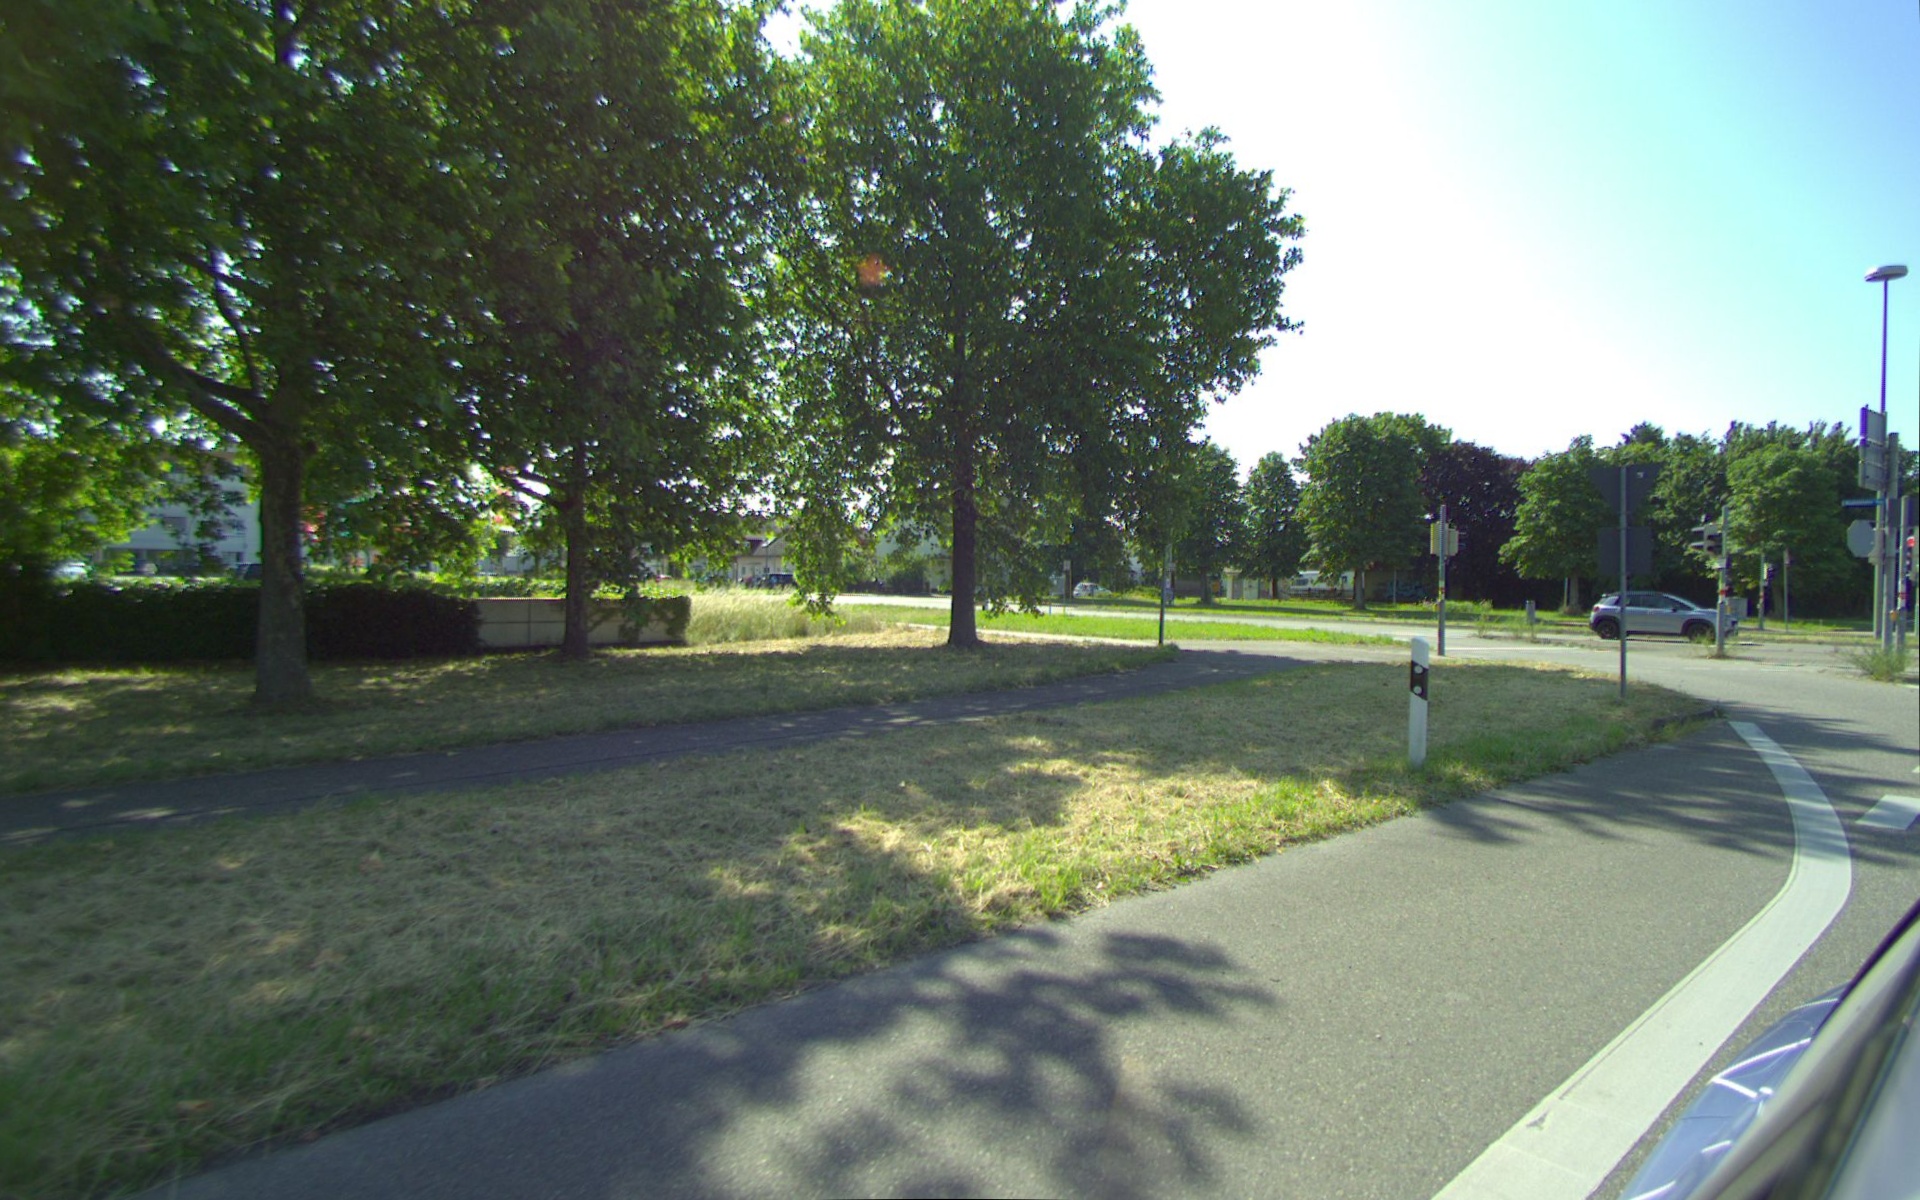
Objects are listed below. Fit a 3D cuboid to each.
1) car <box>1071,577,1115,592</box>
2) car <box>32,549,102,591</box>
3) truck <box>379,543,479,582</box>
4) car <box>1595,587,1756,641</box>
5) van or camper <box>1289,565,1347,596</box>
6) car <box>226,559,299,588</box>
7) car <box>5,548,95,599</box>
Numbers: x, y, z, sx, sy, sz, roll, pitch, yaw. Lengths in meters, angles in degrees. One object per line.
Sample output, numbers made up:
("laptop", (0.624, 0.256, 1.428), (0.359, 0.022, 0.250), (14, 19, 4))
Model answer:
("car", (12.032, -1.421, 91.182), (3.929, 1.304, 1.731), (0, 2, -40))
("car", (-43.657, -1.472, 49.550), (1.961, 1.949, 4.003), (0, 2, -32))
("truck", (-50.885, -3.562, 97.157), (8.086, 3.590, 2.637), (1, 1, -7))
("car", (23.736, 0.412, 33.675), (1.712, 1.583, 4.059), (0, 2, -41))
("van or camper", (34.022, -1.868, 96.322), (1.966, 2.867, 4.805), (0, 2, -43))
("car", (-50.891, -1.895, 73.838), (4.266, 2.039, 1.998), (-1, 0, -39))
("car", (-35.189, -1.032, 39.249), (1.961, 1.883, 4.003), (0, 2, -32))
